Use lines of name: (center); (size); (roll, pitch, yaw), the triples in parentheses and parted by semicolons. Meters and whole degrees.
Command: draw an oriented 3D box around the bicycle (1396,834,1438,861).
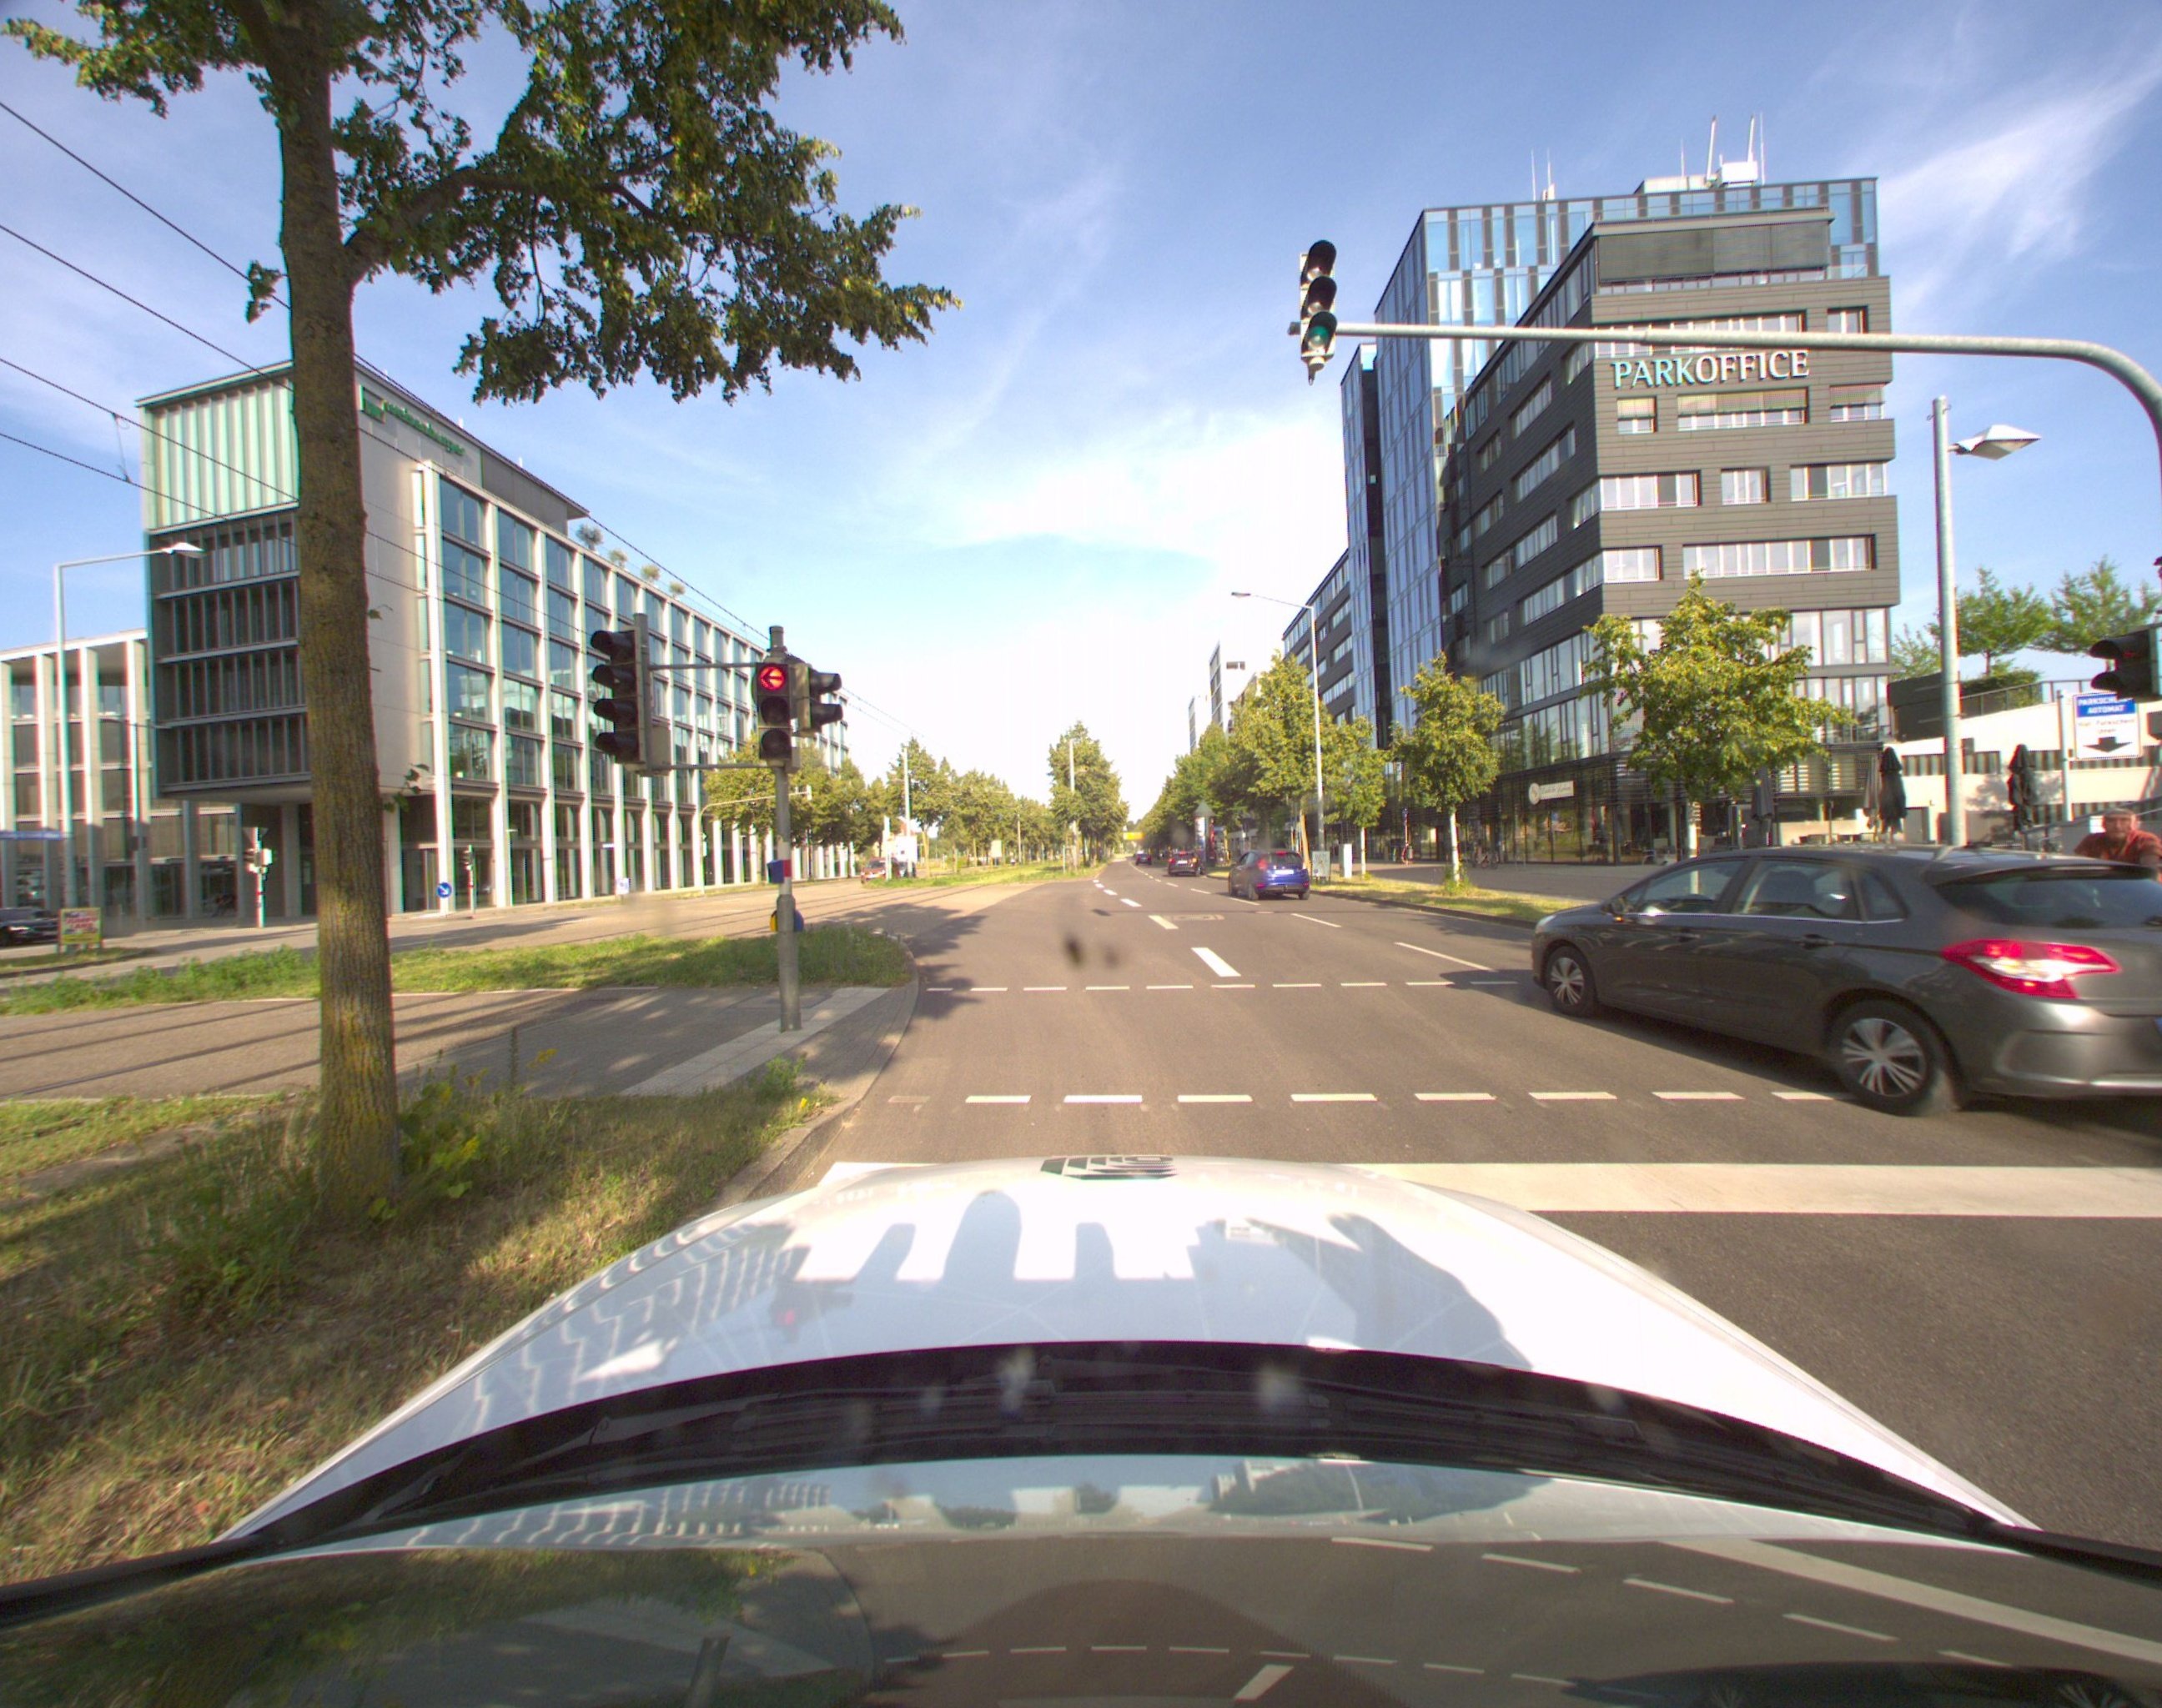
bicycle: (21.920, -0.421, 53.150); (2.419, 1.746, 0.556); (-1, -1, 12)

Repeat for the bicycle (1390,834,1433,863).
bicycle: (21.974, -0.351, 54.180); (2.547, 1.857, 0.571); (-1, -1, 12)

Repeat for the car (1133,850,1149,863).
car: (7.194, 0.313, 97.629); (1.852, 1.524, 3.788); (0, 0, 3)

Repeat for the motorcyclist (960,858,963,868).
motorcyclist: (-18.974, 1.463, 129.327); (0.484, 1.564, 0.455); (0, -1, 1)

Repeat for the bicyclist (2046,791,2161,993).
bicyclist: (9.112, 0.320, 7.169); (0.573, 1.707, 0.541); (0, -1, 0)

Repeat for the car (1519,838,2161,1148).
car: (5.134, 0.646, 5.829); (1.690, 1.424, 4.035); (0, 0, -3)

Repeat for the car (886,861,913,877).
car: (-16.588, 1.364, 74.571); (1.633, 1.443, 3.954); (0, 0, -1)

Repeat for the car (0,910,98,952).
car: (-40.032, 2.906, 31.185); (3.477, 1.424, 1.580); (-1, 0, 12)

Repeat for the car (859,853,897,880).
car: (-13.855, 0.866, 55.854); (1.679, 1.775, 3.881); (0, 0, -1)

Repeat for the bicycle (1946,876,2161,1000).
bicycle: (8.960, 0.718, 7.171); (2.128, 1.013, 0.571); (0, 0, -2)

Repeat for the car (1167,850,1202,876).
car: (6.012, 0.487, 46.953); (1.763, 1.424, 3.972); (-1, 0, 10)

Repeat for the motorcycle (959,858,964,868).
motorcycle: (-18.978, 1.473, 129.317); (0.472, 1.531, 1.993); (0, 0, 2)

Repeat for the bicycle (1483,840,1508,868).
bicycle: (20.527, 0.000, 40.355); (0.371, 1.346, 1.895); (0, -1, 3)

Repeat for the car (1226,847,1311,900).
car: (5.460, 0.506, 24.161); (1.556, 1.424, 3.905); (0, 1, -2)
